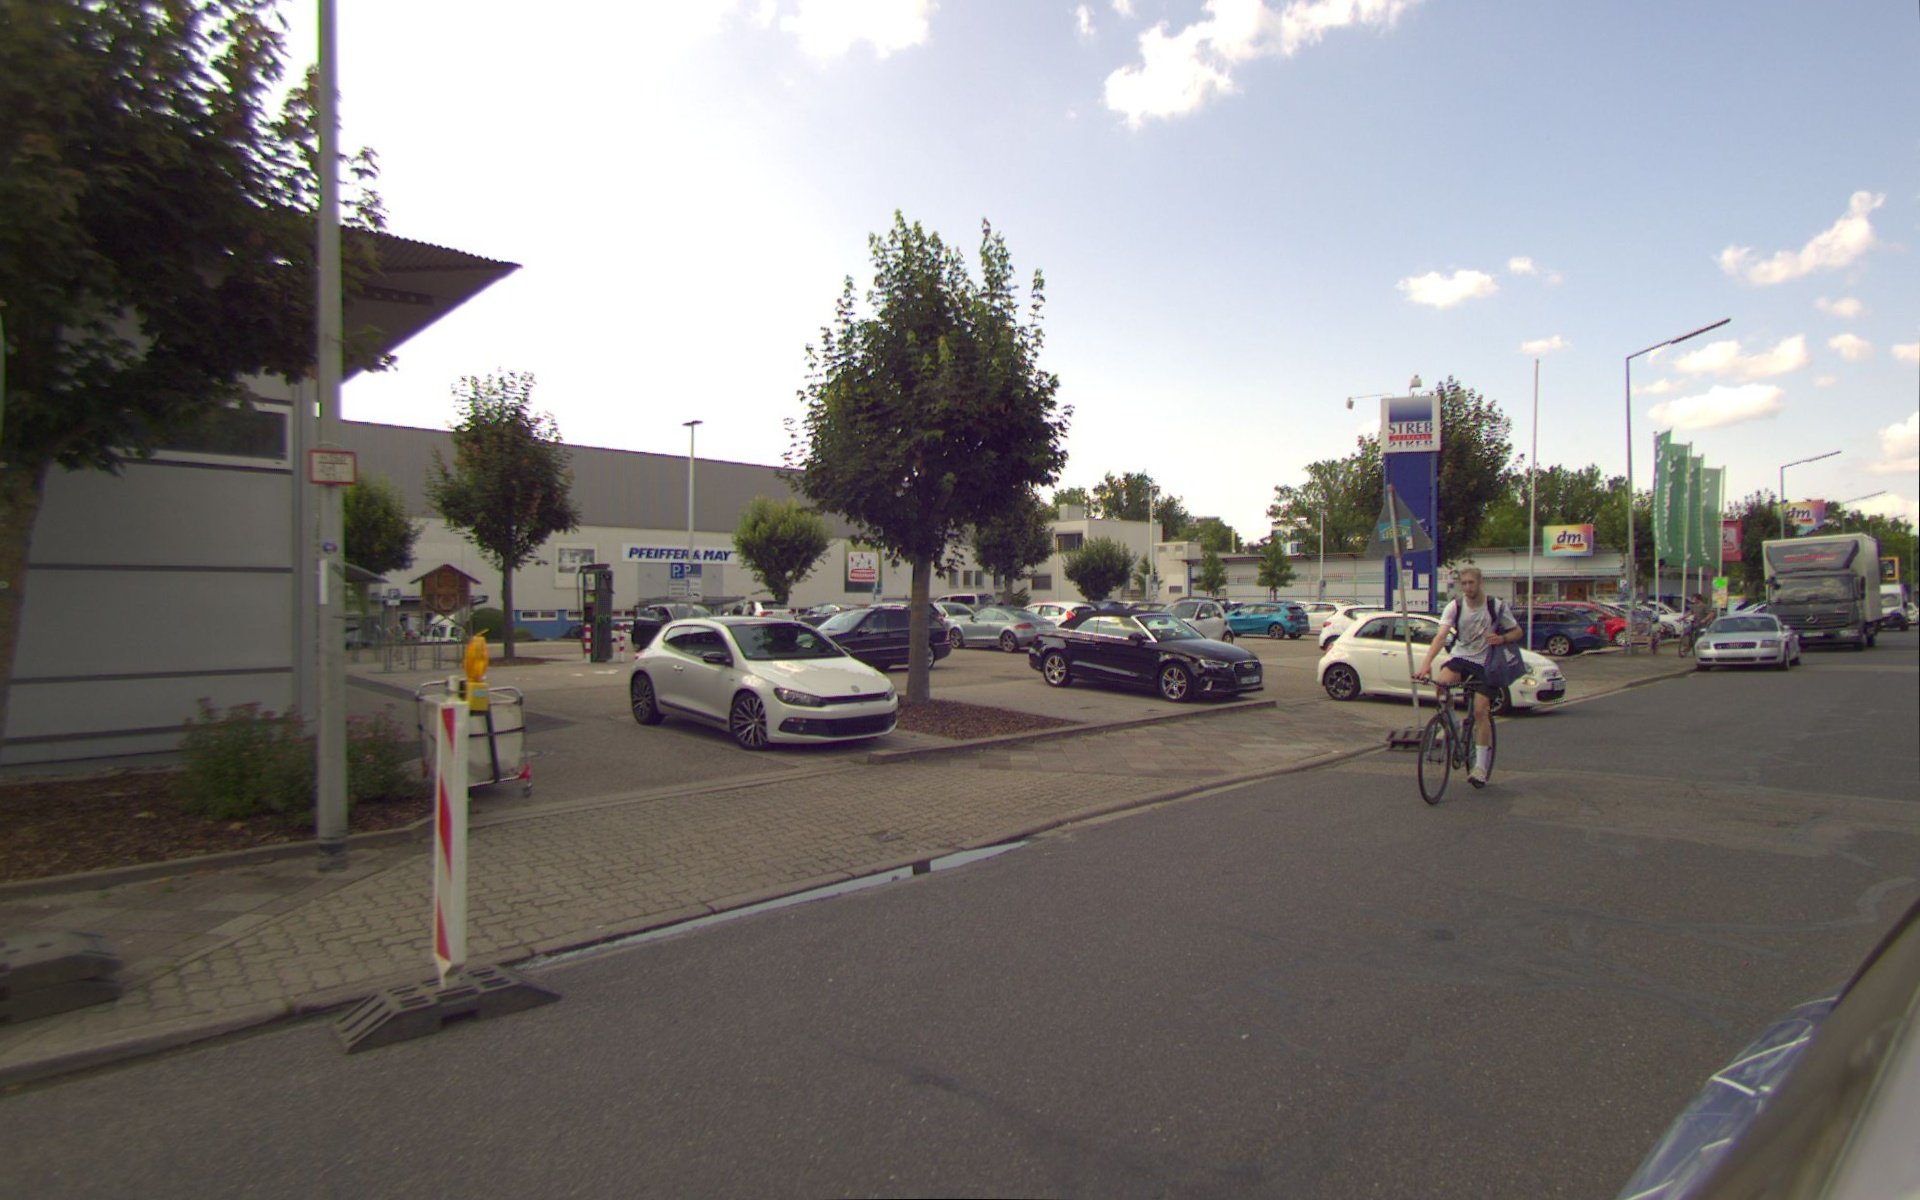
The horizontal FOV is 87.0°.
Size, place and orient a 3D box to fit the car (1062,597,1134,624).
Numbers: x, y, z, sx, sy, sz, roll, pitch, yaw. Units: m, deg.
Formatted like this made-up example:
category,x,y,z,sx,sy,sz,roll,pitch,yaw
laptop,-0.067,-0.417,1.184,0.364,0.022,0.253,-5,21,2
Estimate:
category,x,y,z,sx,sy,sz,roll,pitch,yaw
car,8.196,0.623,60.242,4.006,1.502,1.697,1,1,44

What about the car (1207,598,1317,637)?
category,x,y,z,sx,sy,sz,roll,pitch,yaw
car,12.305,0.674,41.353,3.982,1.502,1.713,1,1,44

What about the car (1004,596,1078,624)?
category,x,y,z,sx,sy,sz,roll,pitch,yaw
car,4.526,0.547,57.126,4.031,1.502,1.697,1,1,44

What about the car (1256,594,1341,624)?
category,x,y,z,sx,sy,sz,roll,pitch,yaw
car,17.936,0.463,53.681,3.936,1.502,1.697,1,1,44

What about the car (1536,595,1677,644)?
category,x,y,z,sx,sy,sz,roll,pitch,yaw
car,22.126,0.616,34.698,3.881,1.542,1.723,1,0,42

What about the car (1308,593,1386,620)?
category,x,y,z,sx,sy,sz,roll,pitch,yaw
car,22.722,0.378,59.457,3.936,1.502,1.697,1,1,44

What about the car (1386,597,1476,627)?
category,x,y,z,sx,sy,sz,roll,pitch,yaw
car,24.617,0.599,52.988,3.936,1.502,1.697,1,1,44

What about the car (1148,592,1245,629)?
category,x,y,z,sx,sy,sz,roll,pitch,yaw
car,10.839,0.459,46.516,4.058,1.597,1.713,1,1,44

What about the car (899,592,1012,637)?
category,x,y,z,sx,sy,sz,roll,pitch,yaw
car,-0.195,0.484,36.801,4.118,1.502,1.697,1,1,44

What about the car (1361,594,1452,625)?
category,x,y,z,sx,sy,sz,roll,pitch,yaw
car,22.757,0.457,51.620,3.936,1.502,1.697,1,1,44

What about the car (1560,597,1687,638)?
category,x,y,z,sx,sy,sz,roll,pitch,yaw
car,25.334,0.613,38.725,3.881,1.450,1.723,1,1,42

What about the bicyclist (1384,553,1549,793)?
category,x,y,z,sx,sy,sz,roll,pitch,yaw
bicyclist,4.204,0.559,8.385,1.187,1.815,0.807,0,-2,-44

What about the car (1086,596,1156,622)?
category,x,y,z,sx,sy,sz,roll,pitch,yaw
car,9.857,0.531,62.131,4.014,1.502,1.697,1,1,44

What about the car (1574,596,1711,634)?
category,x,y,z,sx,sy,sz,roll,pitch,yaw
car,28.445,0.581,42.286,1.828,1.455,4.484,0,1,-44

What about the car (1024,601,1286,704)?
category,x,y,z,sx,sy,sz,roll,pitch,yaw
car,3.213,0.786,17.299,1.775,1.448,4.186,0,1,-42

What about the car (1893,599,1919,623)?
category,x,y,z,sx,sy,sz,roll,pitch,yaw
car,61.885,0.693,65.727,3.491,1.475,1.695,0,-3,-45

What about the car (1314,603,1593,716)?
category,x,y,z,sx,sy,sz,roll,pitch,yaw
car,7.667,0.826,15.979,1.658,1.488,3.608,0,1,-39

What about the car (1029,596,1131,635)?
category,x,y,z,sx,sy,sz,roll,pitch,yaw
car,4.900,0.591,41.780,4.010,1.502,1.697,1,1,44

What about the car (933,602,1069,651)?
category,x,y,z,sx,sy,sz,roll,pitch,yaw
car,1.227,0.779,31.385,4.104,1.355,1.766,1,1,44

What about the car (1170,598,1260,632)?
category,x,y,z,sx,sy,sz,roll,pitch,yaw
car,12.273,0.701,48.876,3.936,1.502,1.697,1,1,44

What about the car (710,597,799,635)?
category,x,y,z,sx,sy,sz,roll,pitch,yaw
car,-8.851,0.643,43.366,4.185,1.502,1.697,1,1,44

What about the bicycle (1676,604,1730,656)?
category,x,y,z,sx,sy,sz,roll,pitch,yaw
bicycle,20.699,0.809,28.189,1.850,1.310,0.793,-1,4,-42

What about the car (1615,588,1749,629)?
category,x,y,z,sx,sy,sz,roll,pitch,yaw
car,33.949,0.340,47.683,1.871,1.810,4.897,0,1,-44

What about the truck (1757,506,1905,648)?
category,x,y,z,sx,sy,sz,roll,pitch,yaw
truck,29.251,-0.665,33.833,8.141,4.170,2.779,0,-3,-44

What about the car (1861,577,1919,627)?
category,x,y,z,sx,sy,sz,roll,pitch,yaw
car,49.301,0.109,53.514,5.365,2.440,2.052,0,-3,-45

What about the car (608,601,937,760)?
category,x,y,z,sx,sy,sz,roll,pitch,yaw
car,-2.379,0.798,12.145,1.957,1.481,4.106,0,1,-44

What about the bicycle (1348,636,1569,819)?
category,x,y,z,sx,sy,sz,roll,pitch,yaw
bicycle,4.174,0.947,8.342,2.584,1.195,0.798,-1,-2,-45

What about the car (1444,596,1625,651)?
category,x,y,z,sx,sy,sz,roll,pitch,yaw
car,16.803,0.625,29.741,1.817,1.462,4.309,0,1,-45

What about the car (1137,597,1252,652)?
category,x,y,z,sx,sy,sz,roll,pitch,yaw
car,7.046,0.685,30.288,1.719,1.539,3.694,-1,-1,44

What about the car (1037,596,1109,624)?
category,x,y,z,sx,sy,sz,roll,pitch,yaw
car,6.528,0.548,58.727,4.023,1.502,1.697,1,1,44

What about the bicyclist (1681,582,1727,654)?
category,x,y,z,sx,sy,sz,roll,pitch,yaw
bicyclist,20.742,0.485,28.214,0.814,1.933,0.796,0,3,-41

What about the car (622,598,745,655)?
category,x,y,z,sx,sy,sz,roll,pitch,yaw
car,-8.198,0.727,29.805,4.050,1.502,1.697,1,1,44

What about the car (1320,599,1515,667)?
category,x,y,z,sx,sy,sz,roll,pitch,yaw
car,11.034,0.734,24.572,3.952,1.428,1.768,2,1,44

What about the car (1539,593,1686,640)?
category,x,y,z,sx,sy,sz,roll,pitch,yaw
car,23.693,0.555,36.835,4.282,1.562,1.723,1,0,42

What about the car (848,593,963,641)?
category,x,y,z,sx,sy,sz,roll,pitch,yaw
car,-1.927,0.544,34.918,4.042,1.502,1.697,1,1,44

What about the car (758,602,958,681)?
category,x,y,z,sx,sy,sz,roll,pitch,yaw
car,-2.143,0.842,22.247,1.681,1.428,4.319,-1,1,44

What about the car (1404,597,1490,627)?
category,x,y,z,sx,sy,sz,roll,pitch,yaw
car,26.489,0.618,55.123,3.936,1.502,1.697,1,1,44

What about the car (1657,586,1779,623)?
category,x,y,z,sx,sy,sz,roll,pitch,yaw
car,37.693,0.258,50.400,1.716,1.706,4.582,0,-1,-42

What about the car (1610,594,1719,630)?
category,x,y,z,sx,sy,sz,roll,pitch,yaw
car,31.901,0.517,45.906,1.625,1.518,3.816,0,1,-42

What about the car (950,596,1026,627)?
category,x,y,z,sx,sy,sz,roll,pitch,yaw
car,1.463,0.578,53.408,3.923,1.502,1.697,1,1,44

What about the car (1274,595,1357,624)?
category,x,y,z,sx,sy,sz,roll,pitch,yaw
car,19.453,0.502,55.464,3.936,1.502,1.697,1,1,44

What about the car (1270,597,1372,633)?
category,x,y,z,sx,sy,sz,roll,pitch,yaw
car,15.957,0.637,44.865,3.936,1.502,1.697,1,1,44

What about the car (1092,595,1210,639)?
category,x,y,z,sx,sy,sz,roll,pitch,yaw
car,6.925,0.572,36.963,3.995,1.502,1.697,1,1,44

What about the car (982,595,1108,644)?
category,x,y,z,sx,sy,sz,roll,pitch,yaw
car,2.776,0.608,33.603,4.059,1.502,1.697,1,1,44

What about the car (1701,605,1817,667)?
category,x,y,z,sx,sy,sz,roll,pitch,yaw
car,19.577,0.851,24.735,3.919,1.358,1.662,0,-4,-44

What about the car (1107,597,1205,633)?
category,x,y,z,sx,sy,sz,roll,pitch,yaw
car,8.694,0.620,45.003,4.020,1.502,1.697,1,1,44

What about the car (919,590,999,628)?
category,x,y,z,sx,sy,sz,roll,pitch,yaw
car,-0.076,0.431,51.422,4.065,1.823,1.697,1,1,44

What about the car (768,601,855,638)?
category,x,y,z,sx,sy,sz,roll,pitch,yaw
car,-6.635,0.816,44.929,4.050,1.502,1.728,1,1,44
